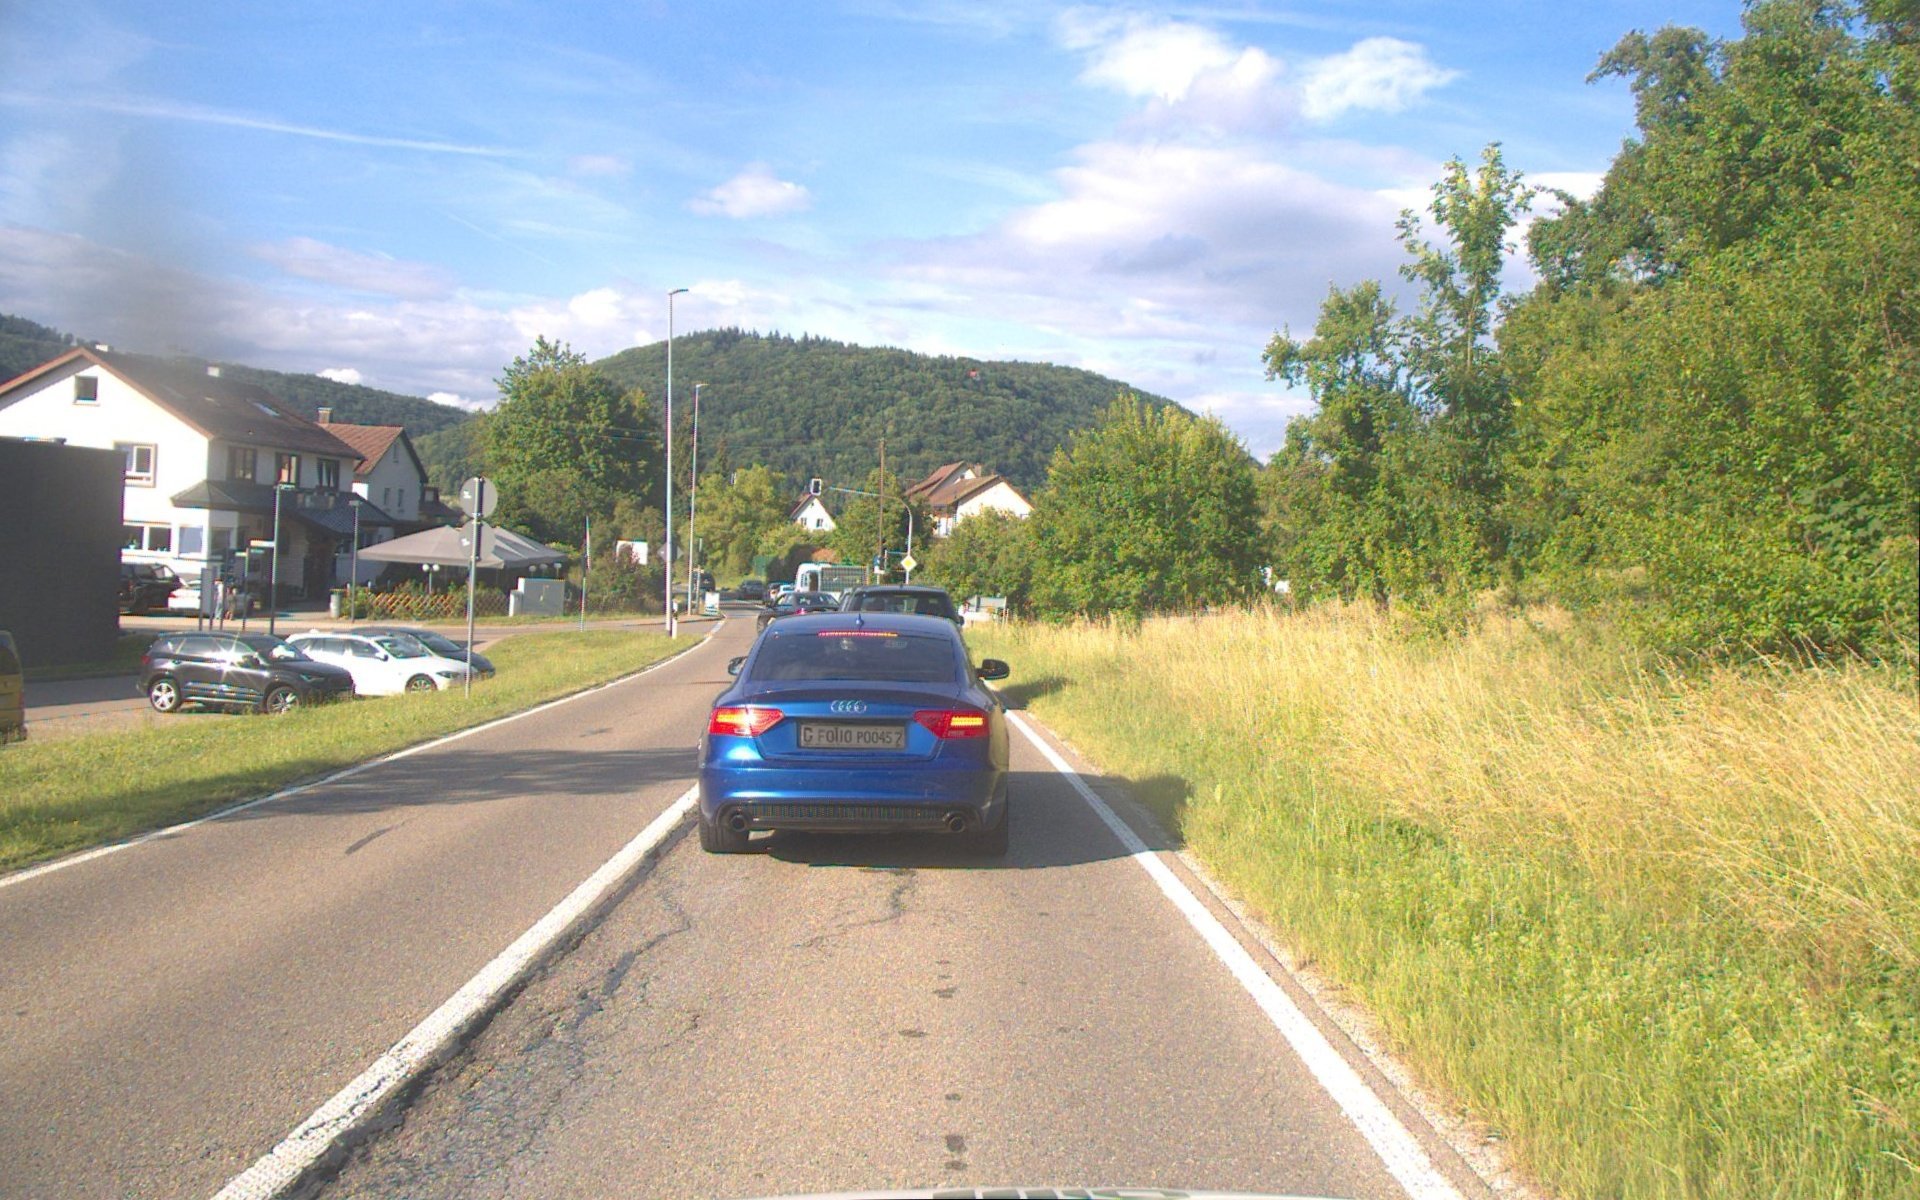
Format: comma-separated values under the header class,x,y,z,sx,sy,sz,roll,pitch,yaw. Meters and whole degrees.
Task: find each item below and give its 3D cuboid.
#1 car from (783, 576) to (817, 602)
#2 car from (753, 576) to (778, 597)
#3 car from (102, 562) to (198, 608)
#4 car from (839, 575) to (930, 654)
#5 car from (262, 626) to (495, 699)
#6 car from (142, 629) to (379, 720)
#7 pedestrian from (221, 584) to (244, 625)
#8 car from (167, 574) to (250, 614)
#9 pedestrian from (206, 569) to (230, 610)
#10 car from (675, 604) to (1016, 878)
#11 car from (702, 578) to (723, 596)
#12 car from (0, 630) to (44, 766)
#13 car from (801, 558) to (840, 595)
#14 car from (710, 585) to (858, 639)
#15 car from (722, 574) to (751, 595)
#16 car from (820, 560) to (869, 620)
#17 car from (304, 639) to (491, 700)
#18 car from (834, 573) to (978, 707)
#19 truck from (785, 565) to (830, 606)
class,x,y,z,sx,sy,sz,roll,pitch,yaw
car,-9.813,-0.637,101.162,1.667,1.516,3.517,1,0,-11
car,-14.624,-0.976,124.311,1.666,1.516,3.519,1,0,-9
car,-31.489,-0.545,64.393,1.849,1.691,3.998,1,0,-2
car,-1.676,0.338,37.982,1.767,1.668,4.463,1,0,1
car,-13.328,1.407,38.021,4.711,1.520,1.882,1,-1,9
car,-14.145,1.470,33.571,3.939,1.666,2.002,1,-1,10
pedestrian,-27.659,0.168,62.897,0.596,1.529,0.589,1,-1,-2
car,-29.280,-0.207,64.542,1.524,1.475,3.998,1,0,-2
pedestrian,-28.299,-0.406,63.073,0.596,1.529,0.589,1,-1,-2
car,-0.532,0.749,10.606,1.758,1.412,4.001,0,-1,2
car,-22.402,-1.167,149.494,1.597,1.604,3.668,1,0,-12
car,-15.796,1.348,23.647,4.512,1.900,2.001,1,-1,13
car,-6.722,-1.109,79.523,1.712,1.668,3.994,1,0,-6
car,-5.181,0.352,48.811,3.903,1.467,1.921,1,-1,18
car,-16.677,-1.149,123.389,1.669,1.516,3.513,1,0,-15
car,-4.533,-0.351,64.496,1.712,2.234,3.994,1,-1,-6
car,-13.710,1.672,40.405,3.903,1.333,1.762,1,-1,5
car,-0.664,0.528,23.020,1.710,1.668,4.001,1,0,2
truck,-7.852,-0.720,84.983,1.667,1.988,5.905,1,0,-11
